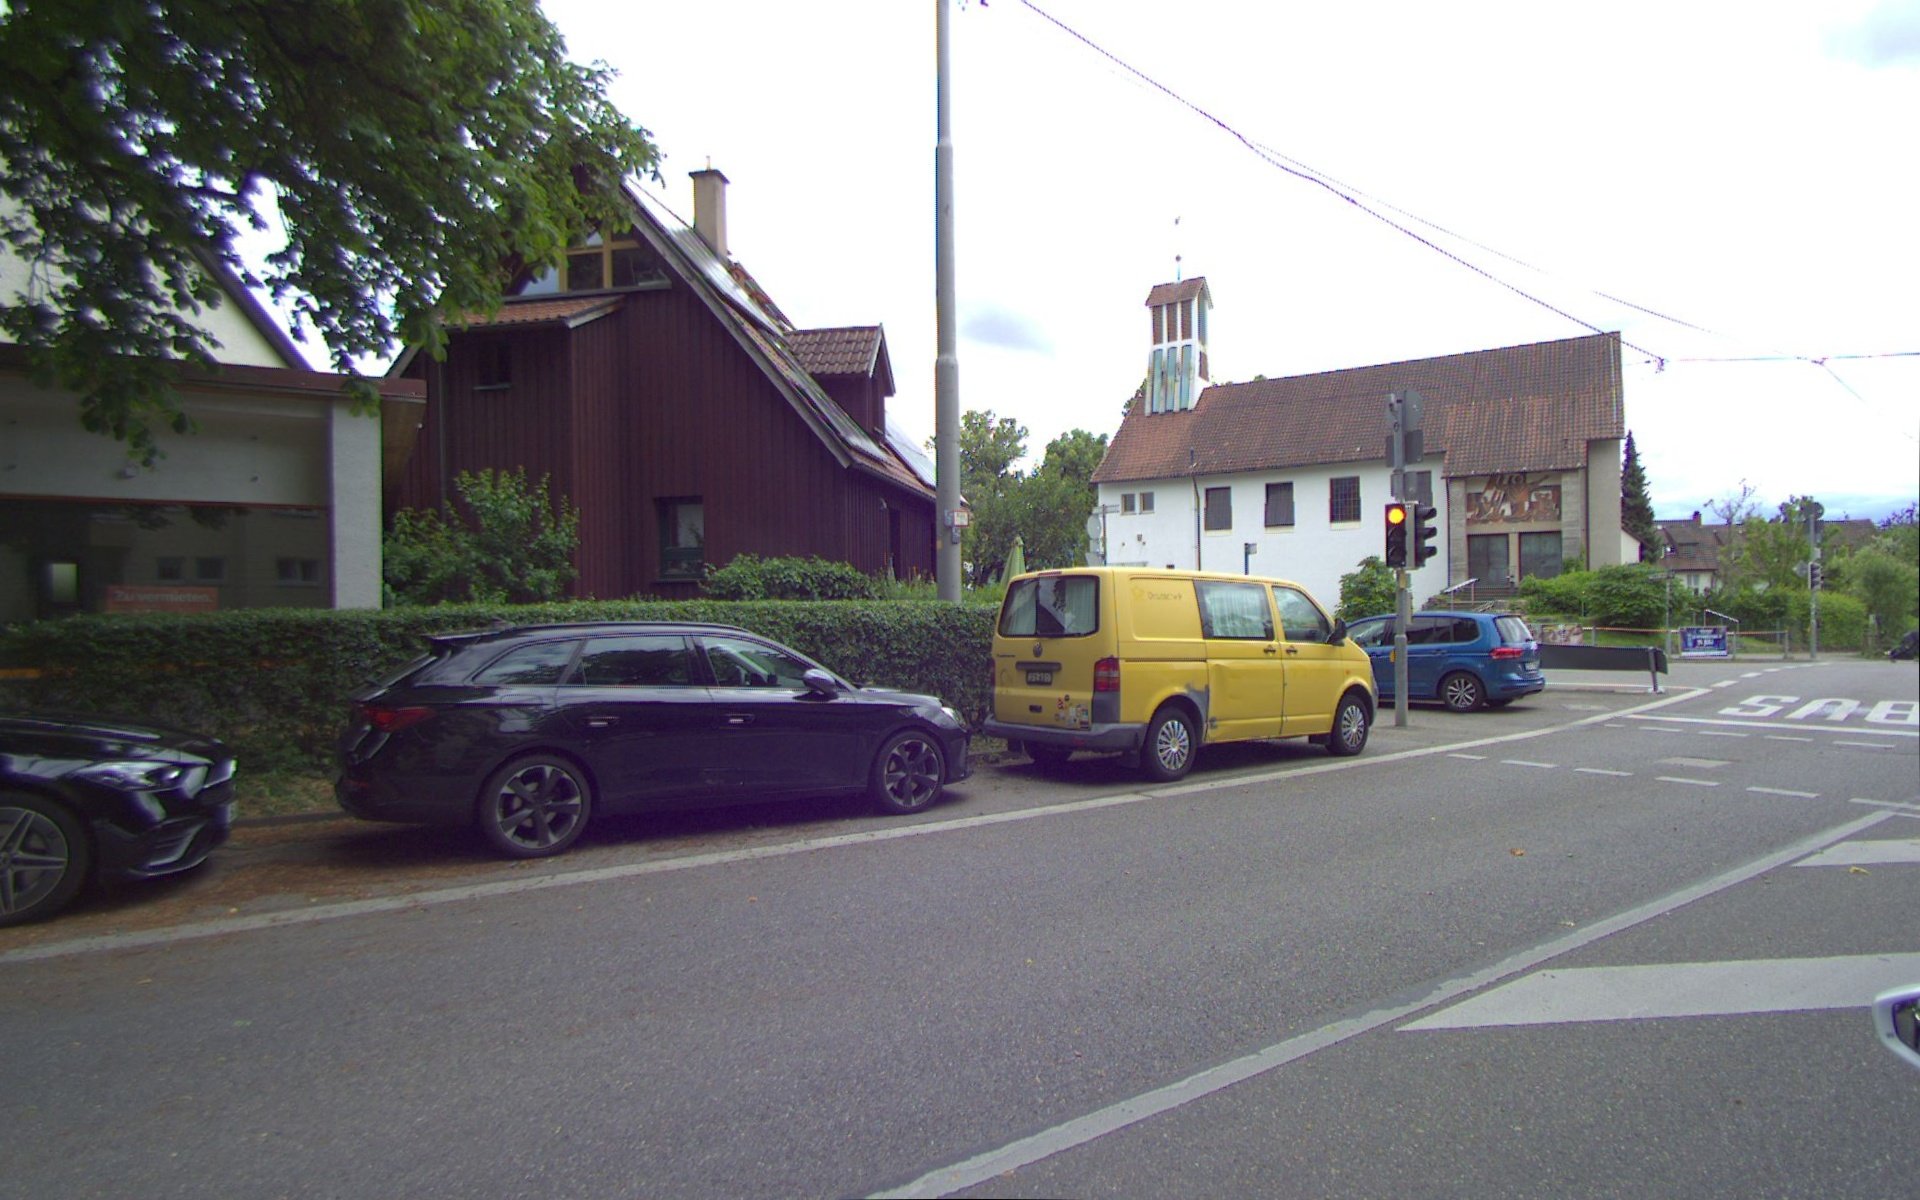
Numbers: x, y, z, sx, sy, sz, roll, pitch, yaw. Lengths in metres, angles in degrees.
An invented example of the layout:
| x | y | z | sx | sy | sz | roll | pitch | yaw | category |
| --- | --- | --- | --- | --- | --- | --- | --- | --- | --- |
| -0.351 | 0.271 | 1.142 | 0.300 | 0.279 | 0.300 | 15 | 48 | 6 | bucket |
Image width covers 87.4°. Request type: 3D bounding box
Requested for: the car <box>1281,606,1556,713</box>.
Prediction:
| x | y | z | sx | sy | sz | roll | pitch | yaw | category |
| --- | --- | --- | --- | --- | --- | --- | --- | --- | --- |
| 7.814 | 0.991 | 17.366 | 1.806 | 1.632 | 3.948 | 1 | -3 | -44 | car |

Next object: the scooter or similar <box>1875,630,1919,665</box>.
| x | y | z | sx | sy | sz | roll | pitch | yaw | category |
| --- | --- | --- | --- | --- | --- | --- | --- | --- | --- |
| 29.501 | 1.486 | 31.481 | 1.091 | 1.095 | 0.577 | -1 | -1 | 28 | scooter or similar |

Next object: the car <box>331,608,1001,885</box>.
| x | y | z | sx | sy | sz | roll | pitch | yaw | category |
| --- | --- | --- | --- | --- | --- | --- | --- | --- | --- |
| -1.996 | 0.845 | 7.441 | 4.494 | 1.505 | 1.681 | 1 | -2 | -34 | car |

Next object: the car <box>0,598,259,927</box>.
| x | y | z | sx | sy | sz | roll | pitch | yaw | category |
| --- | --- | --- | --- | --- | --- | --- | --- | --- | --- |
| -6.213 | 0.762 | 4.757 | 4.561 | 1.520 | 1.984 | 1 | -2 | -31 | car |

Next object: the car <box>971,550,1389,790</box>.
| x | y | z | sx | sy | sz | roll | pitch | yaw | category |
| --- | --- | --- | --- | --- | --- | --- | --- | --- | --- |
| 2.461 | 0.647 | 10.685 | 4.523 | 2.040 | 1.870 | 1 | -2 | -37 | car |
